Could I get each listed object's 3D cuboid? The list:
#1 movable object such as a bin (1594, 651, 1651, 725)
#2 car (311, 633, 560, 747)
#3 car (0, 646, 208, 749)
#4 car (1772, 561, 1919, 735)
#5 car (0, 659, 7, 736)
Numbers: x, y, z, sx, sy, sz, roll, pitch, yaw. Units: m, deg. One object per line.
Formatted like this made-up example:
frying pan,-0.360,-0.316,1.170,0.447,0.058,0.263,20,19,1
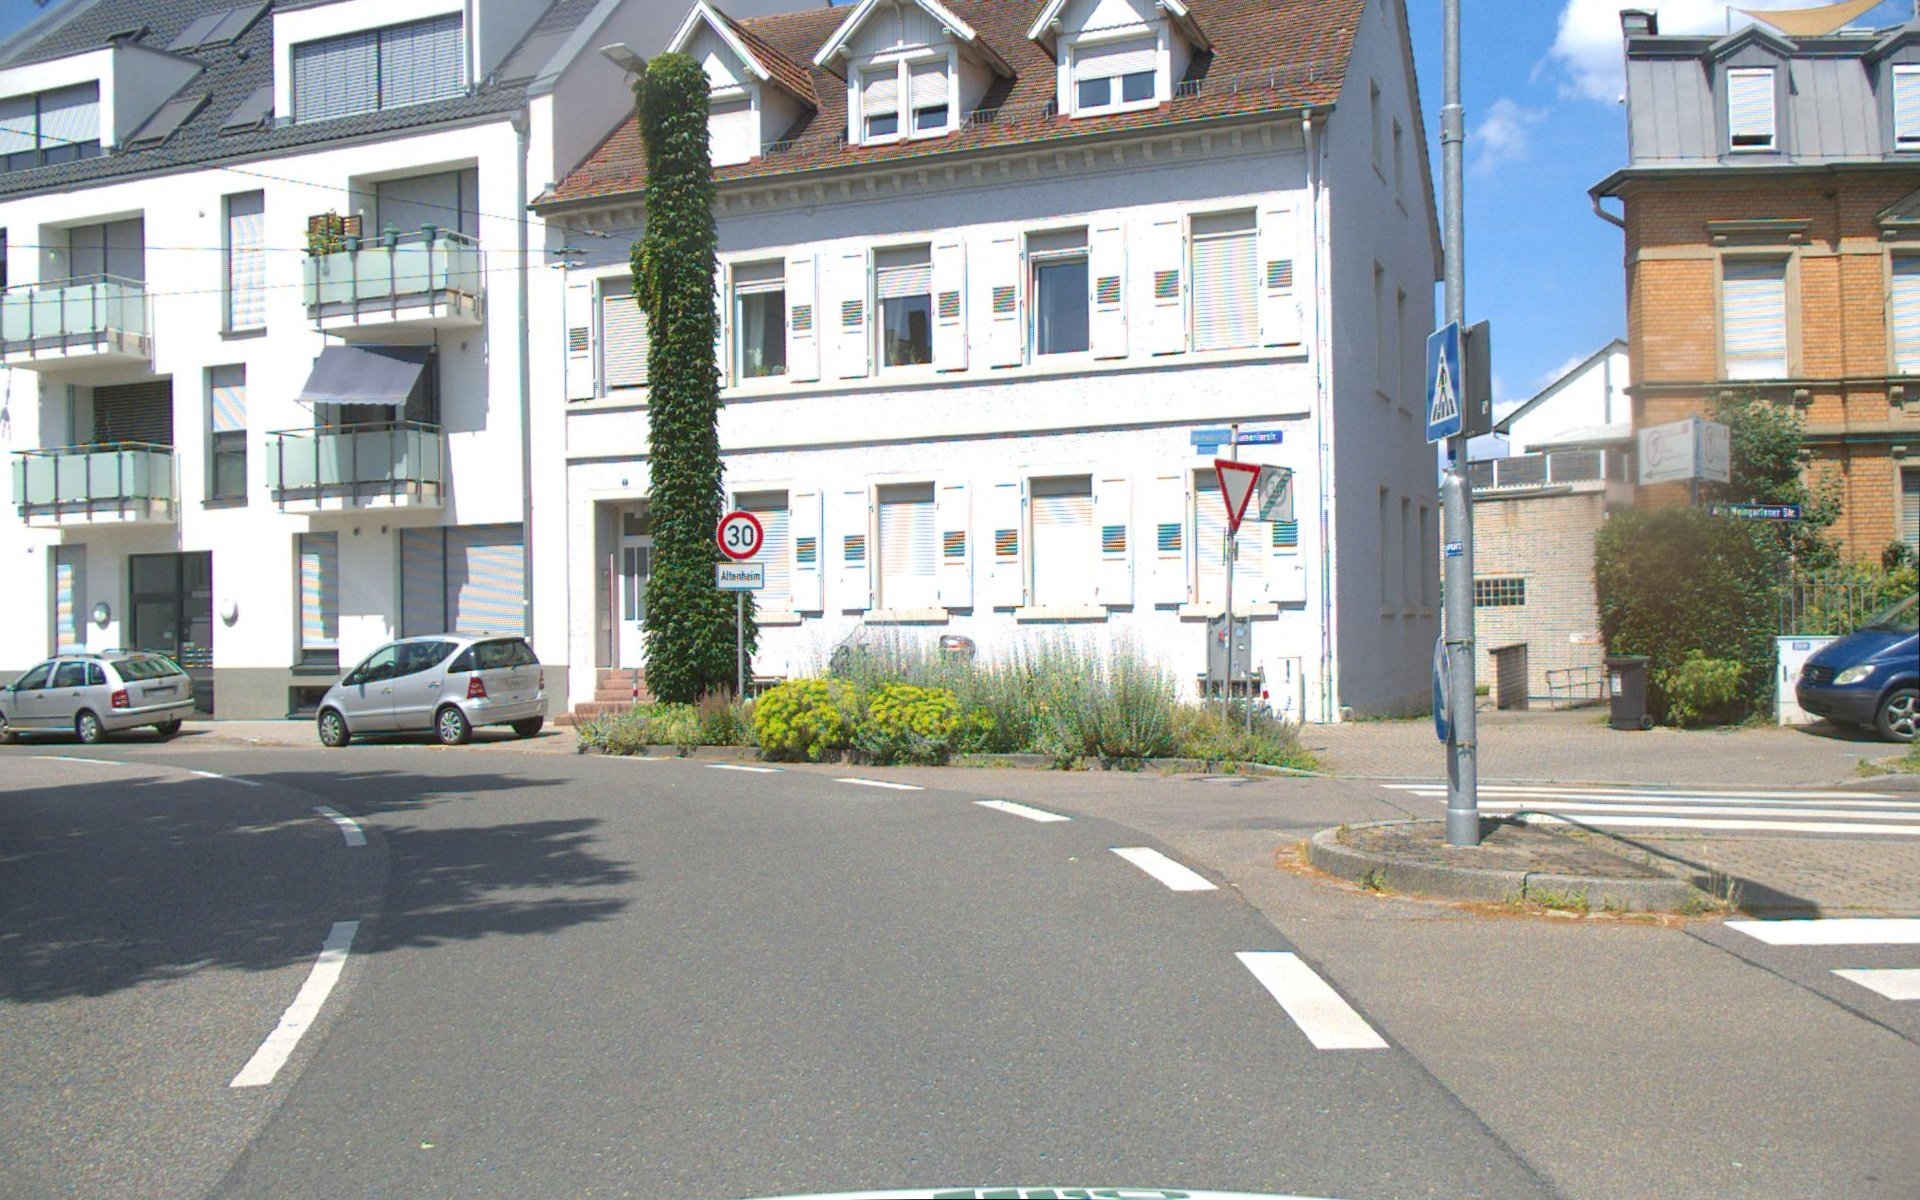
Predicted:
movable object such as a bin,8.487,1.127,21.200,0.413,0.932,0.555,2,-3,-26
car,-7.908,1.322,24.903,3.538,1.614,1.581,-1,-3,30
car,-14.802,1.603,28.033,3.819,1.491,1.660,0,3,27
car,12.783,0.488,19.741,5.114,1.981,2.085,-2,0,8
car,-19.123,1.829,29.836,3.420,1.381,1.423,-1,3,20
